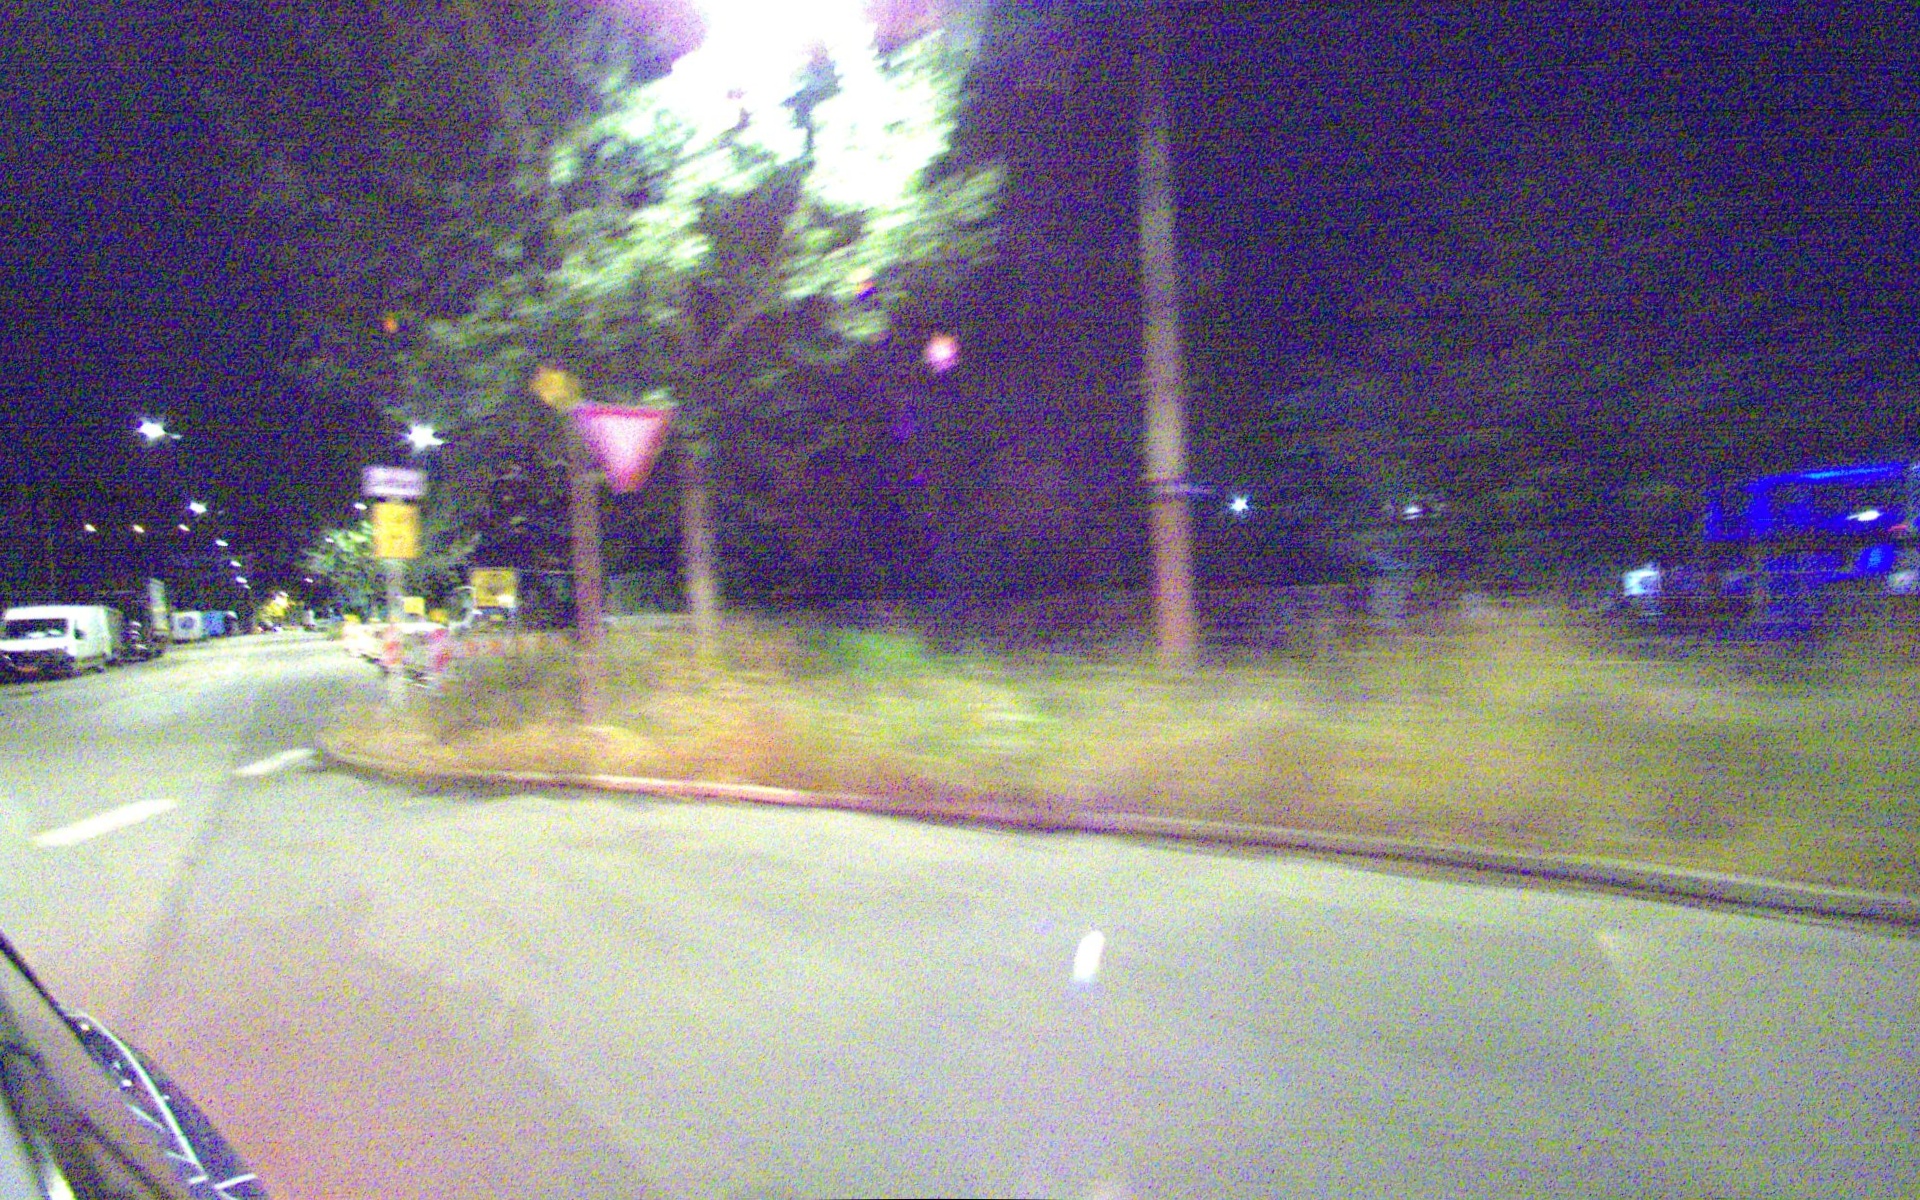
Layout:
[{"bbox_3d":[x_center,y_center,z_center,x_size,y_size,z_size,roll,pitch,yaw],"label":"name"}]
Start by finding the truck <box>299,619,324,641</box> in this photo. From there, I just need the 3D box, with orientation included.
[{"bbox_3d":[-118.662,5.536,185.166,2.785,3.658,10.422,-4,0,-38],"label":"truck"}]

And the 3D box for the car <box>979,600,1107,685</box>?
[{"bbox_3d":[2.727,1.419,34.461,1.966,2.573,4.496,-4,0,-30],"label":"car"}]

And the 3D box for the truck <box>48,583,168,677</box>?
[{"bbox_3d":[-40.848,1.422,48.868,3.280,3.897,9.351,-4,1,-34],"label":"truck"}]

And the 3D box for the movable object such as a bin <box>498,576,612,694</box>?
[{"bbox_3d":[-10.304,0.910,25.601,1.551,2.755,3.706,0,-3,-41],"label":"movable object such as a bin"}]

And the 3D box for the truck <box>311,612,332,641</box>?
[{"bbox_3d":[-102.412,4.260,162.363,2.602,4.347,12.860,-1,-1,-32],"label":"truck"}]

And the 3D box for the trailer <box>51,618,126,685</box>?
[{"bbox_3d":[-35.776,2.087,41.666,1.610,2.492,5.040,-4,0,-34],"label":"trailer"}]

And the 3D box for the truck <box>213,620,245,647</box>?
[{"bbox_3d":[-117.055,5.377,162.197,2.475,3.866,12.696,-4,0,-30],"label":"truck"}]

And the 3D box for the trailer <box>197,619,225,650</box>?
[{"bbox_3d":[-87.760,4.032,118.595,2.367,3.350,4.371,-4,0,-37],"label":"trailer"}]

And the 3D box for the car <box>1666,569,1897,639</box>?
[{"bbox_3d":[27.736,0.188,34.375,2.455,2.041,5.552,-4,0,-35],"label":"car"}]

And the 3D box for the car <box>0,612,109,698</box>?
[{"bbox_3d":[-30.867,1.834,34.246,2.080,2.535,6.389,-4,0,-32],"label":"car"}]

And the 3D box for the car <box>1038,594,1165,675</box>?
[{"bbox_3d":[4.917,1.211,35.832,1.966,2.573,4.496,-4,0,-30],"label":"car"}]

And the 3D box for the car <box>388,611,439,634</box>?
[{"bbox_3d":[-56.376,2.357,104.438,4.374,1.986,2.005,-5,0,-35],"label":"car"}]

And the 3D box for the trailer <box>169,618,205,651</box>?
[{"bbox_3d":[-68.050,3.033,89.177,1.966,2.670,4.011,-4,0,-31],"label":"trailer"}]

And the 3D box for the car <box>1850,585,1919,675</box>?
[{"bbox_3d":[22.504,0.639,21.910,1.968,1.898,4.492,-4,0,-10],"label":"car"}]

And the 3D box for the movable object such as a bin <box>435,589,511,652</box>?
[{"bbox_3d":[-19.867,0.840,41.268,2.833,2.486,1.535,-2,0,35],"label":"movable object such as a bin"}]
